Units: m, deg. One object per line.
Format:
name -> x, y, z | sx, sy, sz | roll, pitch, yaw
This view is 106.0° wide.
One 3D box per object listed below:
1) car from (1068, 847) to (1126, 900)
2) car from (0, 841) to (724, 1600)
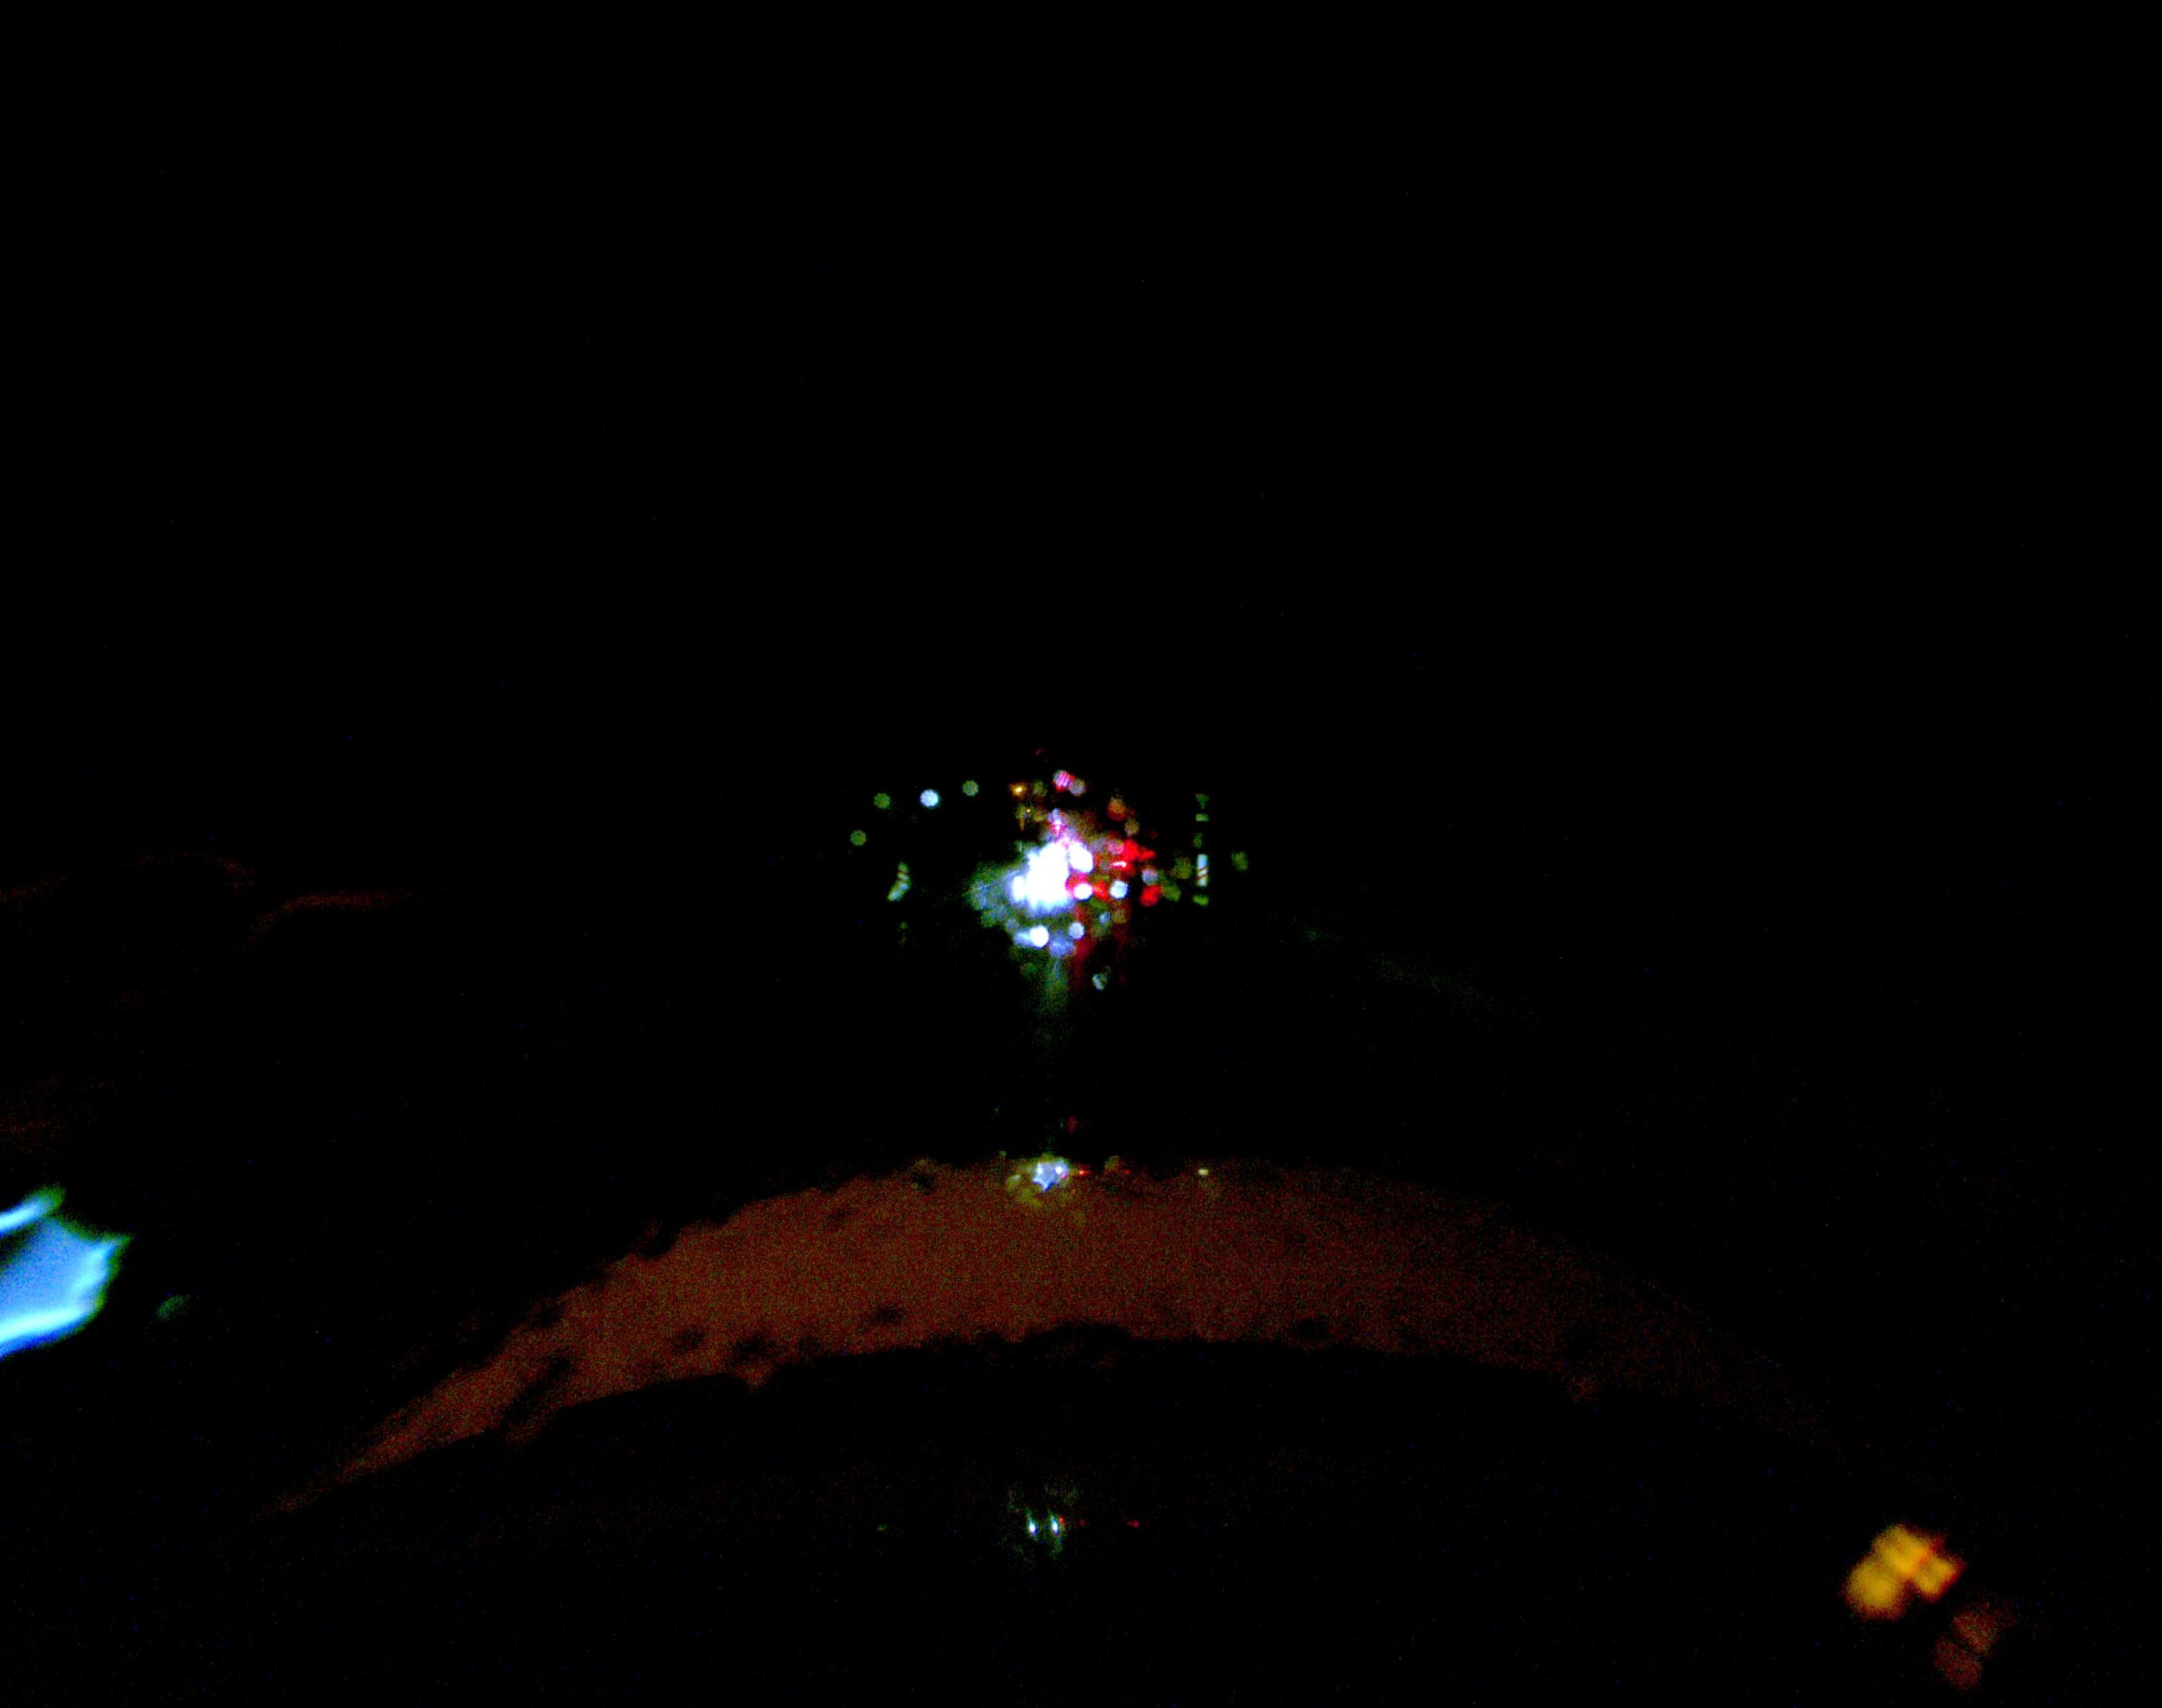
car -> 0.556, 0.656, 27.271 | 1.795, 1.629, 3.616 | 1, -1, 2
car -> -3.013, 0.749, 2.833 | 1.726, 1.518, 4.016 | 0, -1, 1
